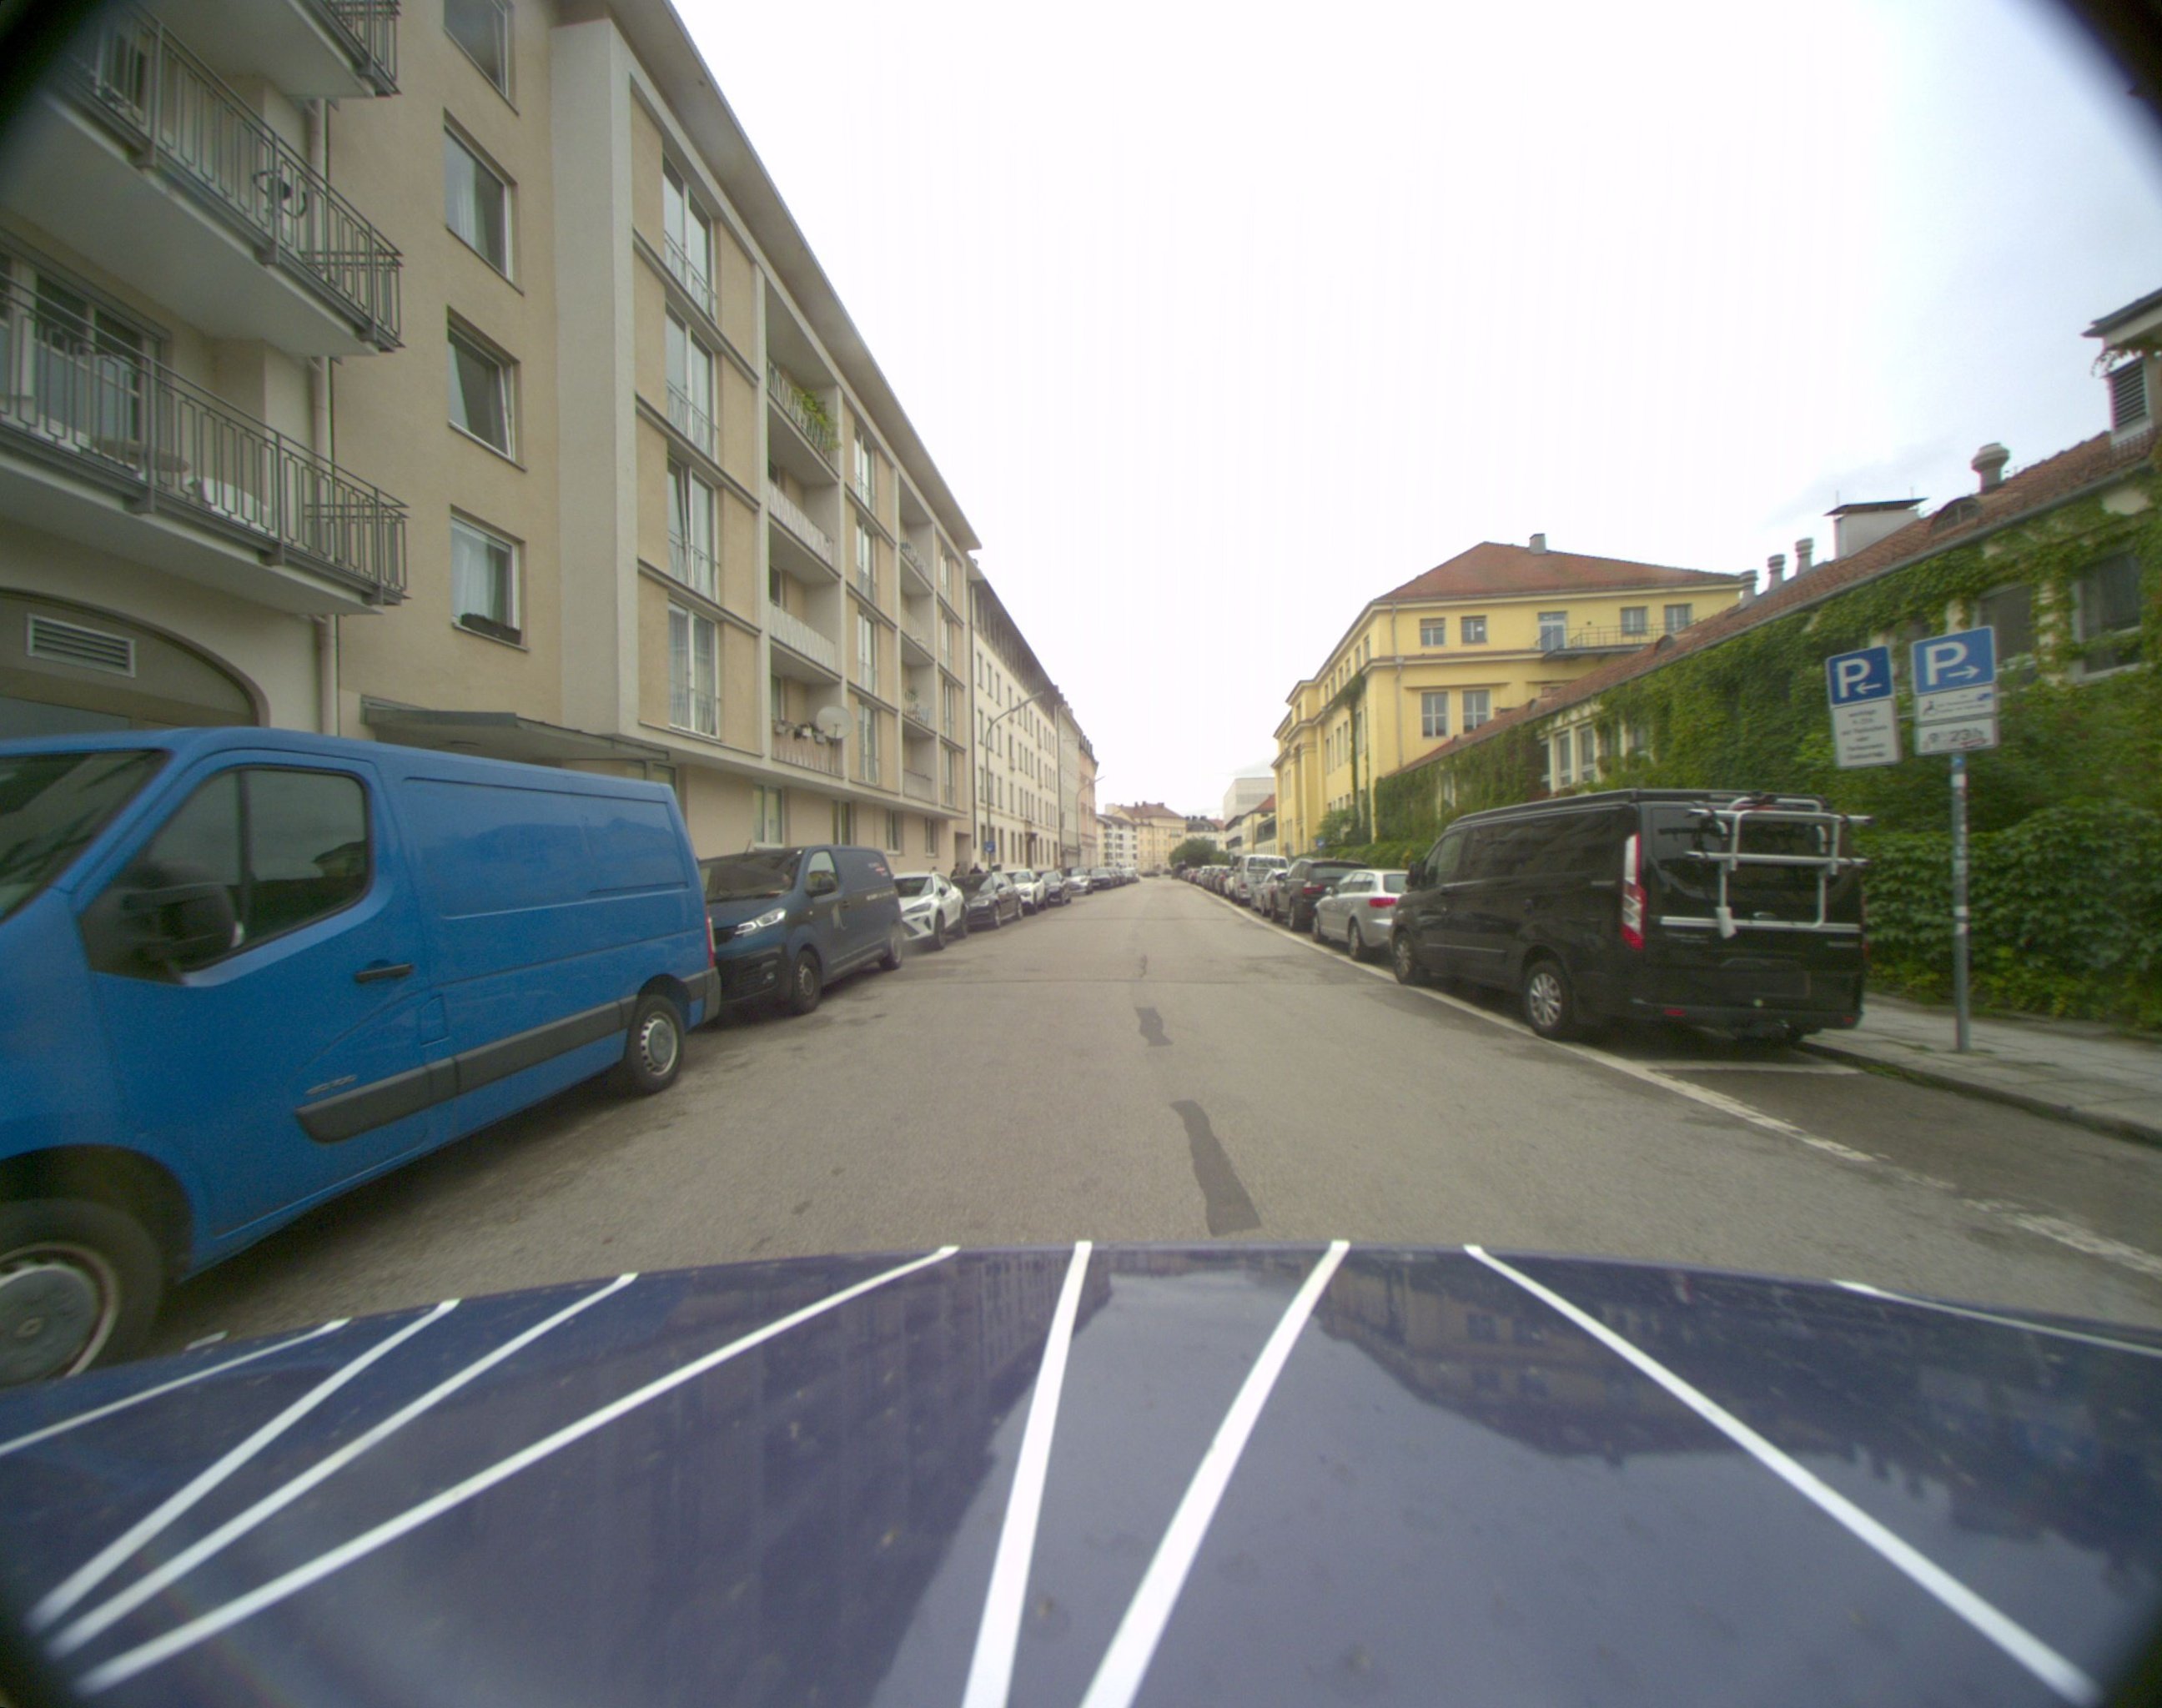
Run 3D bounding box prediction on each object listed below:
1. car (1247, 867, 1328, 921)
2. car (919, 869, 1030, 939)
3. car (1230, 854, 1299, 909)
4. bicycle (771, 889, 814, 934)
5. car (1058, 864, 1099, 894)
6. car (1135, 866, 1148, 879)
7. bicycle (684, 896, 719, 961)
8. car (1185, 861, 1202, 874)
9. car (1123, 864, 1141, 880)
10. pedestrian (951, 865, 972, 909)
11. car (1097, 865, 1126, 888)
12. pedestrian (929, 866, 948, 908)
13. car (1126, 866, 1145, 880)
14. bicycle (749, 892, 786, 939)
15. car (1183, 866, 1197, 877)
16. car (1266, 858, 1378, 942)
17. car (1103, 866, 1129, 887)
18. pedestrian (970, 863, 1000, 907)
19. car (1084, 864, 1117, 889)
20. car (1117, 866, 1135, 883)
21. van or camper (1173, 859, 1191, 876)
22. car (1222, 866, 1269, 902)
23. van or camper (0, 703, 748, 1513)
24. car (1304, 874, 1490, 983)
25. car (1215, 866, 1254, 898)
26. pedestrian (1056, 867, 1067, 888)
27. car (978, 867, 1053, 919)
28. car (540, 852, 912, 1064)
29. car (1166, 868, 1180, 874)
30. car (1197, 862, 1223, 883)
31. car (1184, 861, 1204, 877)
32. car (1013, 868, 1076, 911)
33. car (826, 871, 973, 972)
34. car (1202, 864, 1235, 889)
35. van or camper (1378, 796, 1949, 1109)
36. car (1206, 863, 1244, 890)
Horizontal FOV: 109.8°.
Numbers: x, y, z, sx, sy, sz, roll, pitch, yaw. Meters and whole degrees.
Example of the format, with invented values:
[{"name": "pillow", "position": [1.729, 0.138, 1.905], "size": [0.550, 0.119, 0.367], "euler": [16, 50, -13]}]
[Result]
[{"name": "car", "position": [6.170, 1.128, 23.139], "size": [1.705, 1.414, 4.427], "euler": [1, 0, 6]}, {"name": "car", "position": [-2.711, 1.241, 20.400], "size": [1.742, 1.490, 4.498], "euler": [-4, -1, 7]}, {"name": "car", "position": [6.791, 0.964, 28.546], "size": [1.997, 1.864, 4.761], "euler": [-1, 0, 7]}, {"name": "bicycle", "position": [-7.162, 1.408, 18.927], "size": [0.390, 1.017, 1.402], "euler": [0, 0, 6]}, {"name": "car", "position": [-0.089, 1.327, 41.190], "size": [1.675, 1.525, 3.883], "euler": [-1, 0, 7]}, {"name": "car", "position": [7.760, 2.382, 97.310], "size": [1.607, 1.632, 3.633], "euler": [-1, 0, 5]}, {"name": "bicycle", "position": [-7.272, 1.401, 14.534], "size": [0.535, 1.126, 1.406], "euler": [0, -1, -29]}, {"name": "car", "position": [13.409, 1.590, 90.594], "size": [1.678, 1.557, 3.999], "euler": [-1, 0, 4]}, {"name": "car", "position": [6.172, 2.195, 92.056], "size": [1.844, 1.775, 4.898], "euler": [-4, -1, 7]}, {"name": "pedestrian", "position": [-4.494, 1.240, 28.668], "size": [0.597, 1.644, 0.631], "euler": [-1, 0, 7]}, {"name": "car", "position": [2.306, 1.631, 56.188], "size": [1.860, 1.535, 4.158], "euler": [-1, -1, 5]}, {"name": "pedestrian", "position": [-5.430, 1.268, 29.049], "size": [0.532, 1.575, 0.560], "euler": [-1, 0, 7]}, {"name": "car", "position": [5.817, 2.012, 81.469], "size": [1.695, 1.442, 4.086], "euler": [-1, -1, 8]}, {"name": "bicycle", "position": [-7.297, 1.424, 17.717], "size": [0.374, 1.017, 1.002], "euler": [0, 0, 6]}, {"name": "car", "position": [16.503, 2.613, 115.156], "size": [1.699, 1.552, 3.869], "euler": [2, -1, 5]}, {"name": "car", "position": [5.538, 0.964, 17.994], "size": [1.623, 1.719, 4.427], "euler": [1, 0, 5]}, {"name": "car", "position": [2.849, 1.777, 61.032], "size": [1.860, 1.535, 4.818], "euler": [-1, -1, 5]}, {"name": "pedestrian", "position": [-3.731, 1.189, 29.669], "size": [0.900, 1.677, 1.320], "euler": [0, 0, 5]}, {"name": "car", "position": [1.378, 1.479, 51.250], "size": [1.860, 1.535, 4.818], "euler": [-1, -1, 5]}, {"name": "car", "position": [4.441, 2.030, 74.881], "size": [1.696, 1.574, 4.085], "euler": [-1, 0, 4]}, {"name": "van or camper", "position": [16.861, 2.250, 126.752], "size": [2.141, 2.791, 5.573], "euler": [0, -1, -1]}, {"name": "car", "position": [7.295, 1.293, 34.000], "size": [1.581, 1.483, 3.732], "euler": [2, 0, 6]}, {"name": "van or camper", "position": [-4.012, 0.773, 3.788], "size": [2.065, 2.218, 5.439], "euler": [-5, 0, 1]}, {"name": "car", "position": [5.023, 1.093, 12.693], "size": [1.623, 1.370, 4.073], "euler": [2, 0, 4]}, {"name": "car", "position": [7.796, 1.392, 38.871], "size": [1.581, 1.447, 3.906], "euler": [-1, 0, 6]}, {"name": "pedestrian", "position": [-1.513, 1.806, 58.343], "size": [0.735, 1.616, 0.828], "euler": [0, 0, 7]}, {"name": "car", "position": [-2.116, 1.250, 25.705], "size": [1.743, 1.490, 4.221], "euler": [-4, -1, 5]}, {"name": "car", "position": [-3.790, 0.970, 9.385], "size": [1.969, 1.805, 4.937], "euler": [-4, -1, 3]}, {"name": "car", "position": [26.347, 4.852, 218.164], "size": [3.995, 1.848, 2.002], "euler": [0, -1, 7]}, {"name": "car", "position": [10.600, 1.498, 62.716], "size": [1.683, 1.624, 4.358], "euler": [-2, -1, 4]}, {"name": "car", "position": [10.745, 1.414, 72.251], "size": [1.683, 1.487, 3.988], "euler": [-1, -1, 6]}, {"name": "car", "position": [-1.348, 1.343, 30.195], "size": [1.800, 1.412, 4.485], "euler": [-4, -1, 5]}, {"name": "car", "position": [-3.422, 1.206, 15.202], "size": [1.743, 1.528, 4.274], "euler": [-5, 0, 1]}, {"name": "car", "position": [9.112, 1.446, 50.610], "size": [1.785, 1.529, 4.197], "euler": [-1, 0, 5]}, {"name": "van or camper", "position": [4.853, 0.688, 7.501], "size": [1.965, 2.053, 4.753], "euler": [2, 0, 0]}, {"name": "car", "position": [8.501, 1.302, 45.245], "size": [1.785, 1.529, 4.151], "euler": [-1, 0, 5]}]
